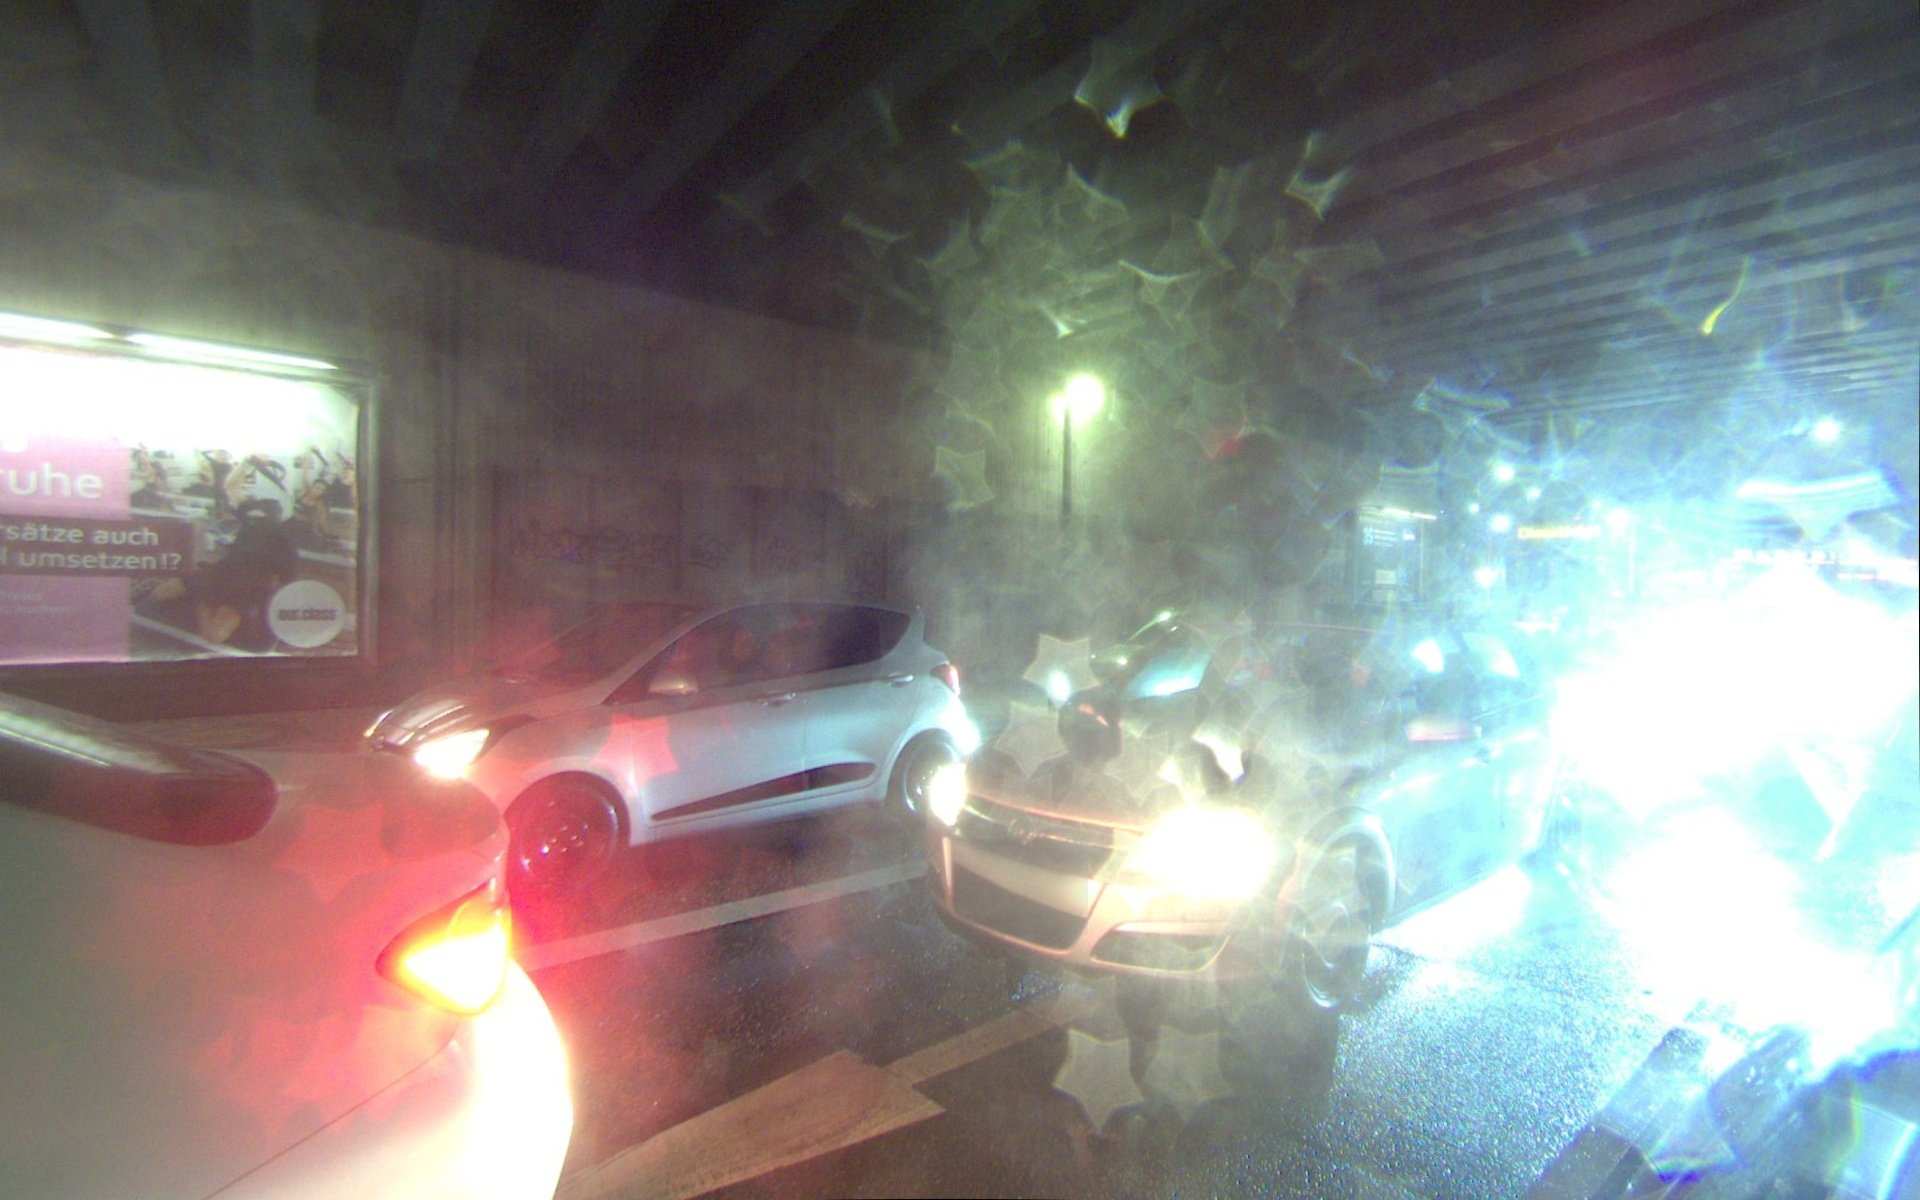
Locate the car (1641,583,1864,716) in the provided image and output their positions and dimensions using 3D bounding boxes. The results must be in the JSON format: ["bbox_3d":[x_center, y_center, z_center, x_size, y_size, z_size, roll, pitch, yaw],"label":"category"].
[{"bbox_3d":[10.782,0.546,13.682,3.906,1.481,1.696,-1,3,-42],"label":"car"}]

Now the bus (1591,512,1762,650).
[{"bbox_3d":[20.439,-0.542,28.579,2.733,3.278,9.551,1,1,43],"label":"bus"}]

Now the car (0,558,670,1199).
[{"bbox_3d":[-2.684,0.683,0.988,4.308,1.464,1.723,-1,3,-42],"label":"car"}]

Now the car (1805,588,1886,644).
[{"bbox_3d":[27.043,0.425,30.887,1.720,1.505,4.098,3,3,42],"label":"car"}]

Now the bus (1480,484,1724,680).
[{"bbox_3d":[13.993,-0.393,21.578,2.733,3.318,9.550,1,1,43],"label":"bus"}]

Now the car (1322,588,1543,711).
[{"bbox_3d":[7.155,0.610,15.141,1.721,1.505,4.096,3,3,44],"label":"car"}]

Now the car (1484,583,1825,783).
[{"bbox_3d":[6.730,0.630,9.635,4.091,1.506,1.722,-1,-2,-42],"label":"car"}]

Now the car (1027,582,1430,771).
[{"bbox_3d":[2.951,0.586,10.438,4.705,1.505,1.723,-1,2,-42],"label":"car"}]

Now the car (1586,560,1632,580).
[{"bbox_3d":[46.350,-2.136,72.332,1.685,1.407,3.979,0,1,17],"label":"car"}]

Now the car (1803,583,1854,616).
[{"bbox_3d":[43.033,-0.063,50.117,1.720,1.505,4.098,3,3,42],"label":"car"}]

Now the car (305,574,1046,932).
[{"bbox_3d":[-1.504,0.611,6.275,4.091,1.464,1.723,-1,3,-42],"label":"car"}]

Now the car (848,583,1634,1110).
[{"bbox_3d":[1.627,0.661,4.857,4.091,1.464,1.723,-1,1,-42],"label":"car"}]
